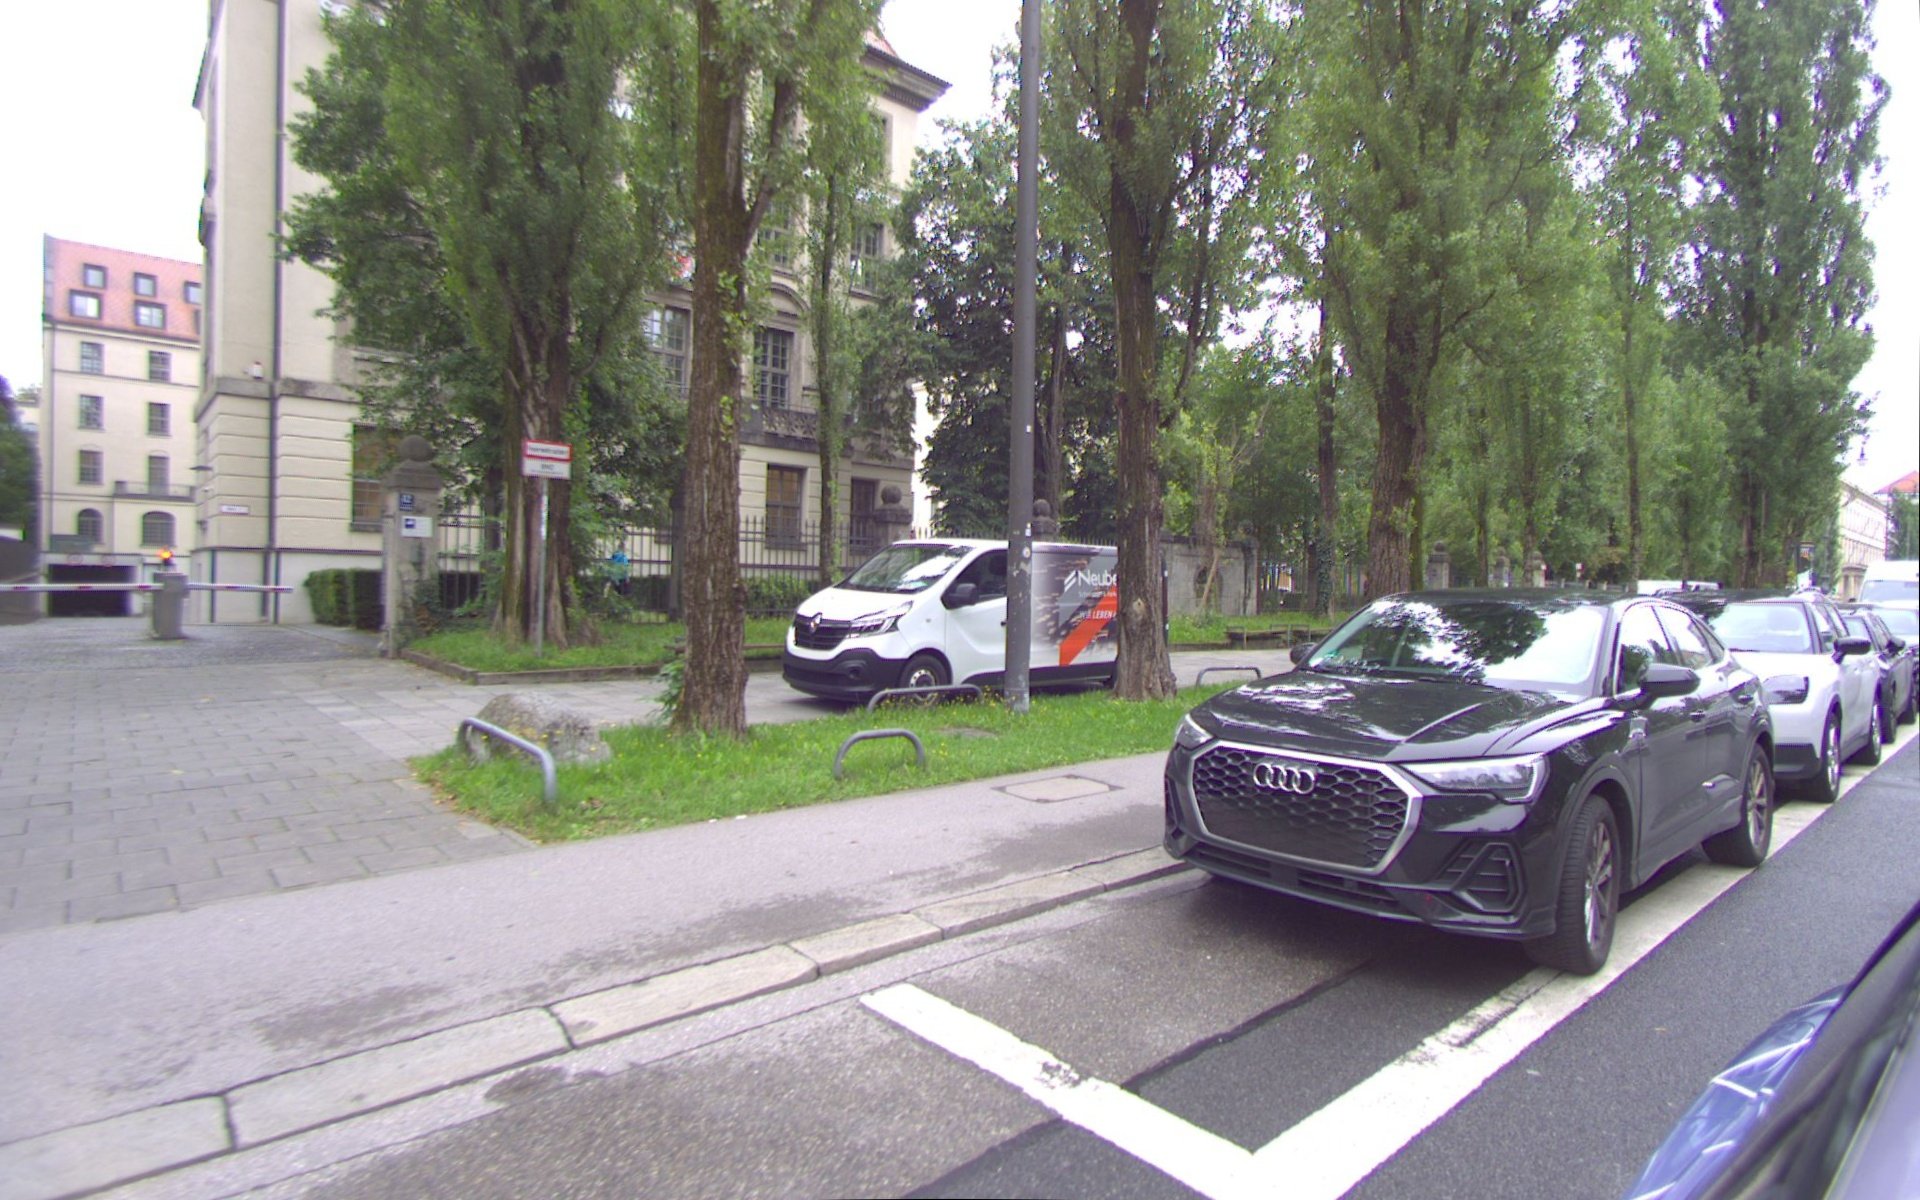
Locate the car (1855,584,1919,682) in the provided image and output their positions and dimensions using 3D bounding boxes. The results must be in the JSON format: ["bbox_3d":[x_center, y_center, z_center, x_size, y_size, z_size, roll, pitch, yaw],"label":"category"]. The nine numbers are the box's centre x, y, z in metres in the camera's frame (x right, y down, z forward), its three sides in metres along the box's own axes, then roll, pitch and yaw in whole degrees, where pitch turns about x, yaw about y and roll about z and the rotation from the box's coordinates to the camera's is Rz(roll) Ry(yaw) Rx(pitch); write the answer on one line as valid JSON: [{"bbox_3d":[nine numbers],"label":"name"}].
[{"bbox_3d":[18.195,0.589,18.932,4.344,1.669,1.787,0,1,-44],"label":"car"}]

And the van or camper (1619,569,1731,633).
[{"bbox_3d":[23.640,0.034,33.373,4.951,1.958,1.978,0,0,-42],"label":"van or camper"}]

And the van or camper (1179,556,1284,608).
[{"bbox_3d":[14.854,-1.019,55.563,2.210,2.740,5.219,0,1,-41],"label":"van or camper"}]

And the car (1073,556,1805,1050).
[{"bbox_3d":[2.793,0.625,5.353,4.386,1.560,1.884,0,1,-41],"label":"car"}]

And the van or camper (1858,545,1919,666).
[{"bbox_3d":[22.803,0.118,23.491,6.306,2.572,2.142,0,1,-42],"label":"van or camper"}]

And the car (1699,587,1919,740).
[{"bbox_3d":[10.663,0.649,12.408,4.220,1.539,1.706,0,1,-42],"label":"car"}]

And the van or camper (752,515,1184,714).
[{"bbox_3d":[0.299,0.140,12.453,5.274,1.958,2.080,0,0,-41],"label":"van or camper"}]

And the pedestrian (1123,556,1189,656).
[{"bbox_3d":[3.629,0.095,18.729,0.878,1.790,0.797,1,1,-38],"label":"pedestrian"}]

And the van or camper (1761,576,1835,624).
[{"bbox_3d":[38.085,-0.012,45.942,4.902,2.039,2.006,0,0,-43],"label":"van or camper"}]

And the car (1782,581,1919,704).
[{"bbox_3d":[14.282,0.575,15.580,4.557,1.638,1.787,0,1,-42],"label":"car"}]

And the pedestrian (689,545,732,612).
[{"bbox_3d":[-6.850,-0.584,27.765,0.879,1.790,0.797,1,1,-38],"label":"pedestrian"}]

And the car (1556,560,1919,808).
[{"bbox_3d":[7.129,0.559,9.086,4.500,1.696,1.746,0,1,-42],"label":"car"}]

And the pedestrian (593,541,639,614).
[{"bbox_3d":[-8.693,-0.561,25.581,0.879,1.790,0.797,1,1,-38],"label":"pedestrian"}]
